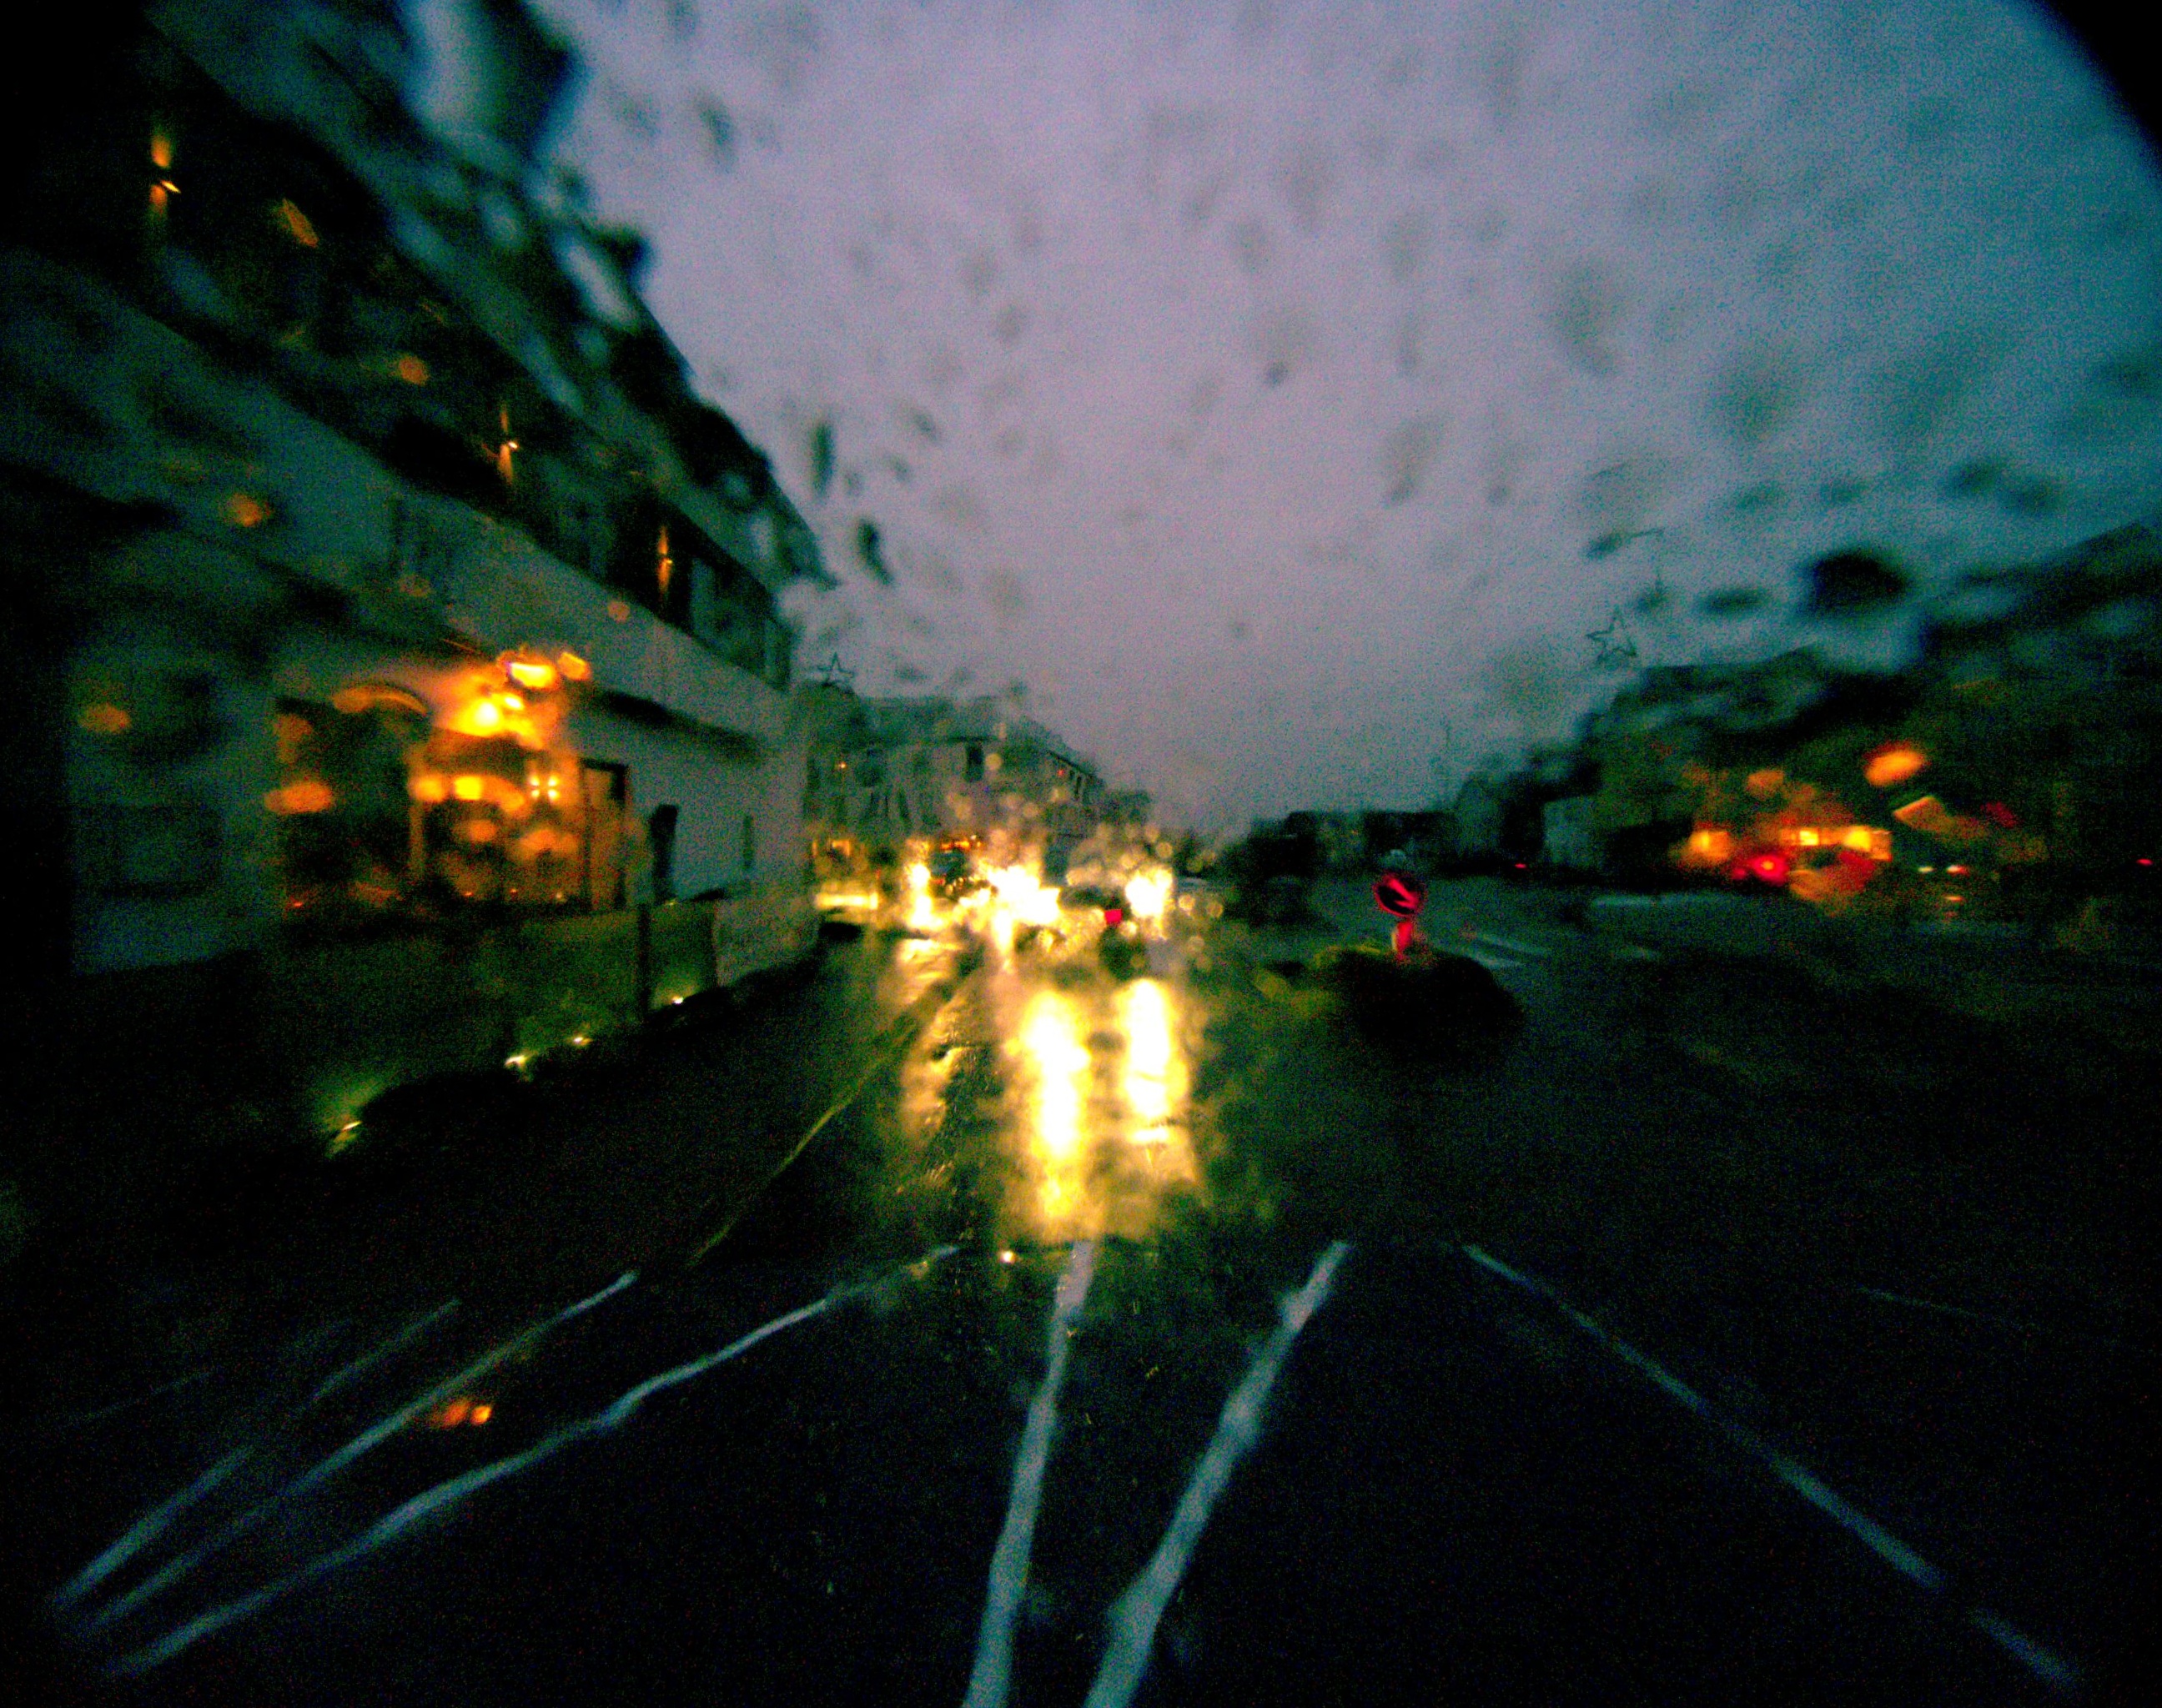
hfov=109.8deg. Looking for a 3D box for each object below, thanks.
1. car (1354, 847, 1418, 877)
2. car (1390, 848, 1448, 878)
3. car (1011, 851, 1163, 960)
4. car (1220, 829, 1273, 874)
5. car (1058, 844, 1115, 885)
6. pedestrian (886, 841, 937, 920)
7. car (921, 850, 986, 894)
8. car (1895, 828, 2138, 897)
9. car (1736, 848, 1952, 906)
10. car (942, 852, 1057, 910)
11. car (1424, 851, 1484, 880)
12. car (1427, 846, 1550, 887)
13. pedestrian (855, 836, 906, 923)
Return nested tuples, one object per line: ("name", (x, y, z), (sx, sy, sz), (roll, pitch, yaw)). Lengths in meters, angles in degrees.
("car", (22.081, 0.519, 55.139), (1.974, 1.984, 3.991), (-3, 2, -25))
("car", (24.706, 0.628, 55.698), (1.926, 2.002, 3.966), (-3, 2, -13))
("car", (-0.077, 0.757, 13.452), (1.959, 1.576, 4.106), (-1, 1, -10))
("car", (8.113, -0.170, 36.956), (2.055, 1.976, 4.541), (-1, 2, 18))
("car", (0.251, 0.383, 31.721), (2.172, 1.469, 3.998), (-2, 2, 1))
("pedestrian", (-3.895, 0.592, 17.498), (0.789, 1.752, 0.770), (0, 4, 44))
("car", (-5.105, 0.660, 31.043), (2.027, 1.471, 4.555), (-2, 2, -3))
("car", (29.301, 0.250, 24.011), (4.455, 2.003, 2.002), (-1, 2, 18))
("car", (20.940, 0.616, 21.035), (3.891, 1.494, 1.709), (-1, 1, 16))
("car", (-2.500, 0.724, 22.368), (1.766, 1.471, 4.009), (-3, 2, -32))
("car", (27.426, 0.795, 55.991), (1.936, 1.871, 3.866), (-3, 2, -13))
("car", (17.843, 0.491, 33.446), (1.892, 1.596, 4.361), (-4, 3, -39))
("pedestrian", (-4.487, 0.549, 17.006), (0.789, 1.856, 0.711), (1, 4, 44))
